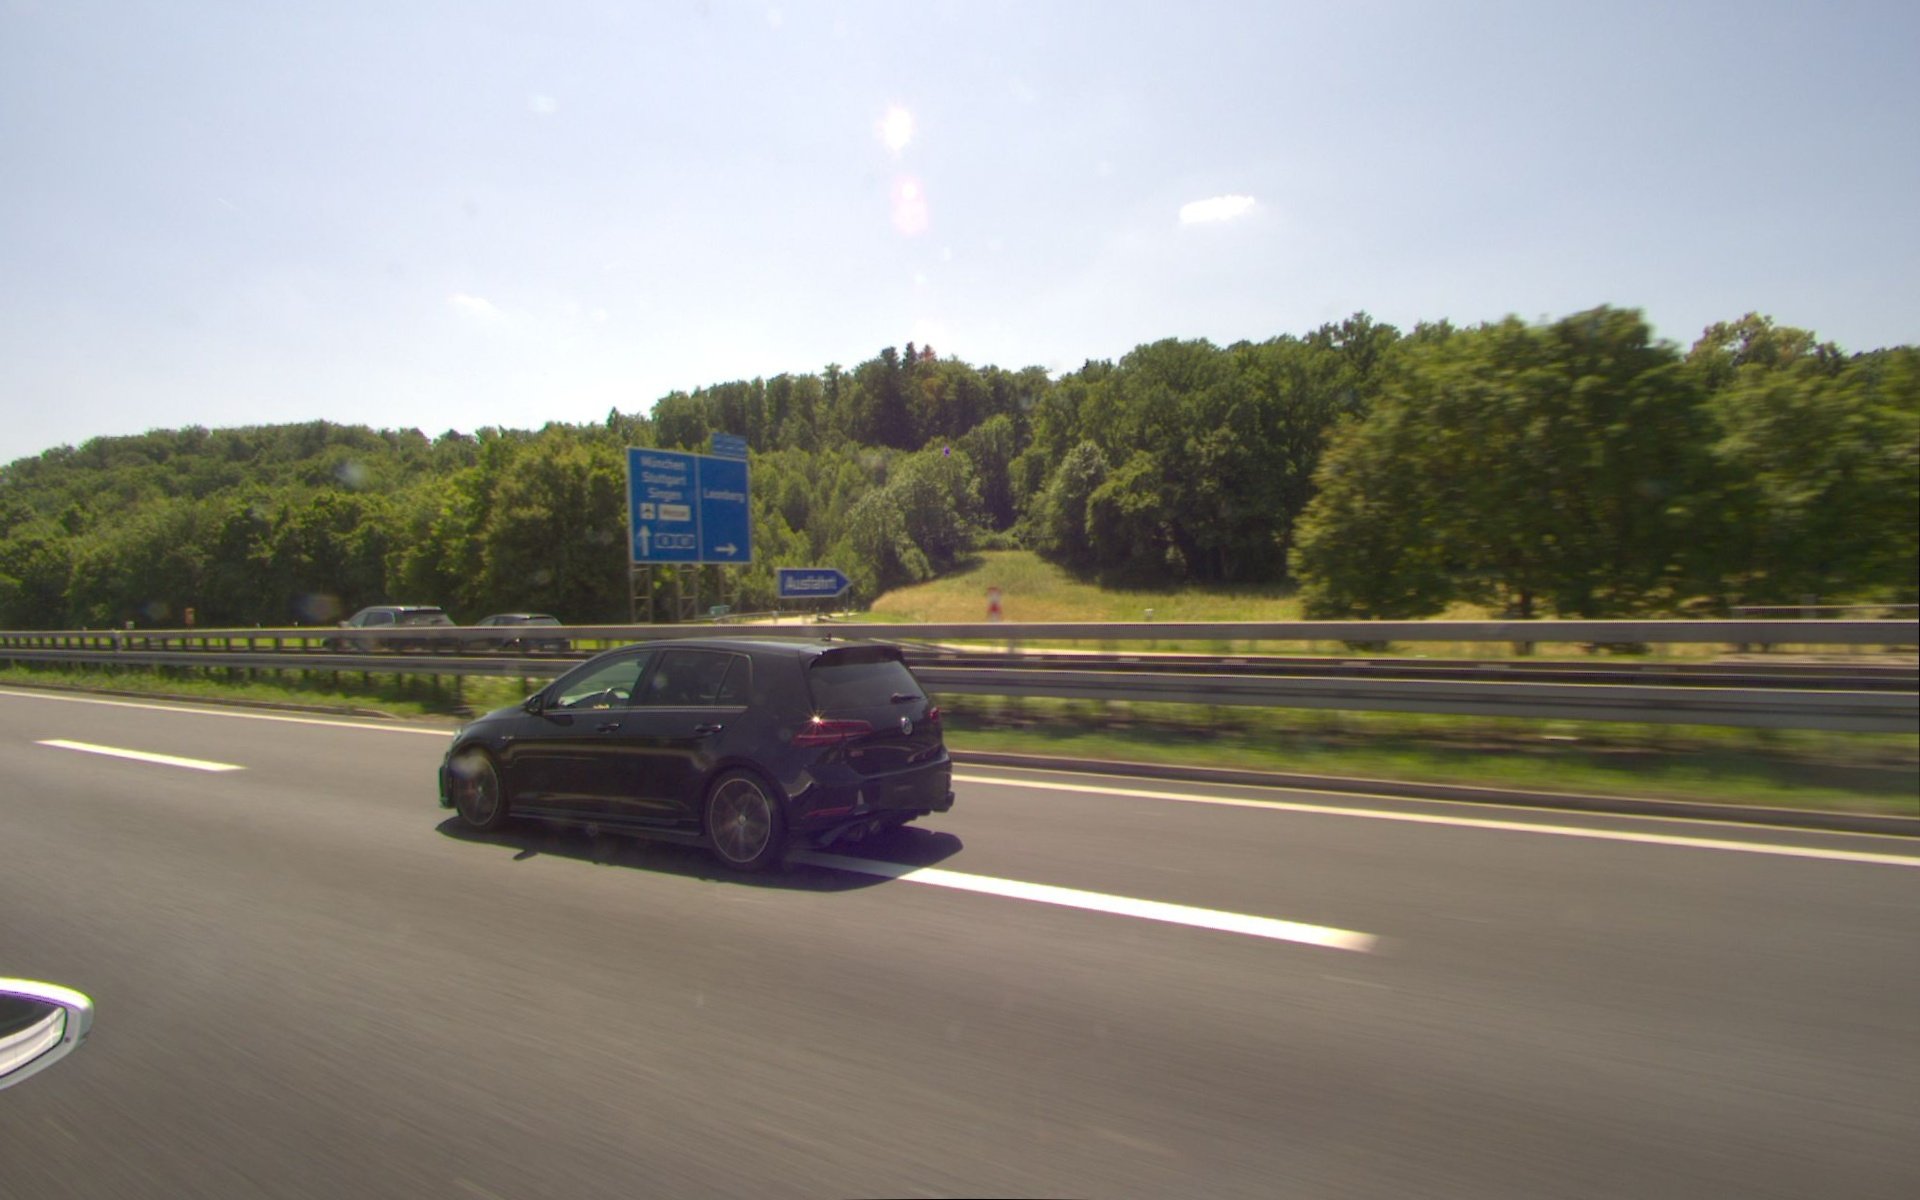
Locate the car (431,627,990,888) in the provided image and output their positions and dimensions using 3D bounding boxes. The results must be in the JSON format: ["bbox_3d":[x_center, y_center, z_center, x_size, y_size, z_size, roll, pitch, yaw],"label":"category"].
[{"bbox_3d":[-1.916,0.952,7.429,3.908,1.454,1.792,-1,-1,31],"label":"car"}]

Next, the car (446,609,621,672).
[{"bbox_3d":[-12.406,1.147,29.026,5.150,1.683,1.991,-1,-1,30],"label":"car"}]

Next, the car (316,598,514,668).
[{"bbox_3d":[-14.418,0.864,26.397,5.542,1.683,1.991,-1,-1,30],"label":"car"}]
